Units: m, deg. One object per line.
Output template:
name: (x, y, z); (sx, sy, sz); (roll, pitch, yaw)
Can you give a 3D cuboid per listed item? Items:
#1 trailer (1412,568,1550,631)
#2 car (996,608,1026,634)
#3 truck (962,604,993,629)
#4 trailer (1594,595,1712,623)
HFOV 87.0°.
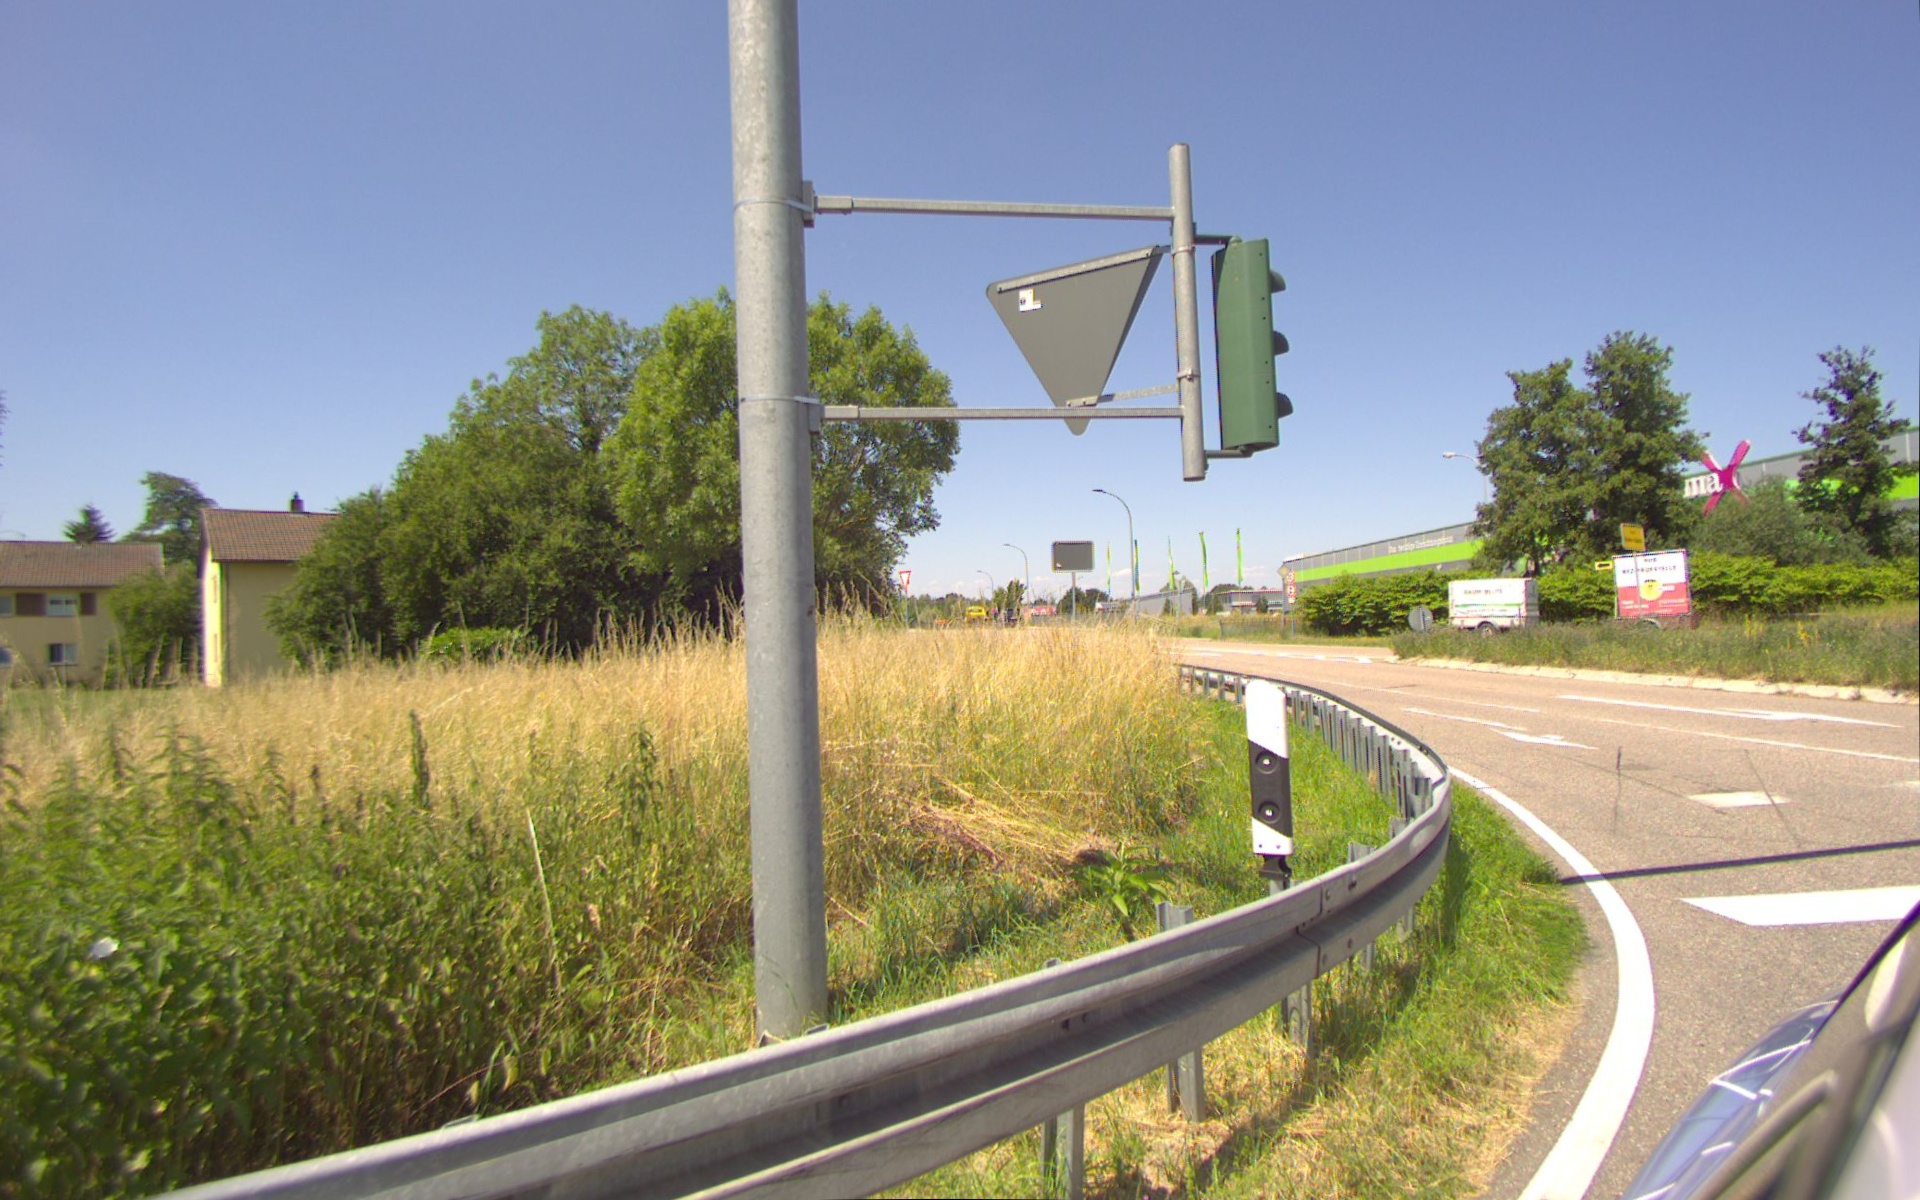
trailer: (18.767, 0.018, 36.576); (1.825, 2.039, 3.952); (-3, 0, -41)
car: (3.748, 1.553, 75.002); (1.871, 1.723, 4.003); (-1, 2, -2)
truck: (1.717, 1.598, 102.468); (2.272, 2.367, 9.057); (-1, 0, -4)
trailer: (22.475, 0.298, 32.867); (1.539, 0.748, 2.847); (-3, 0, -41)
